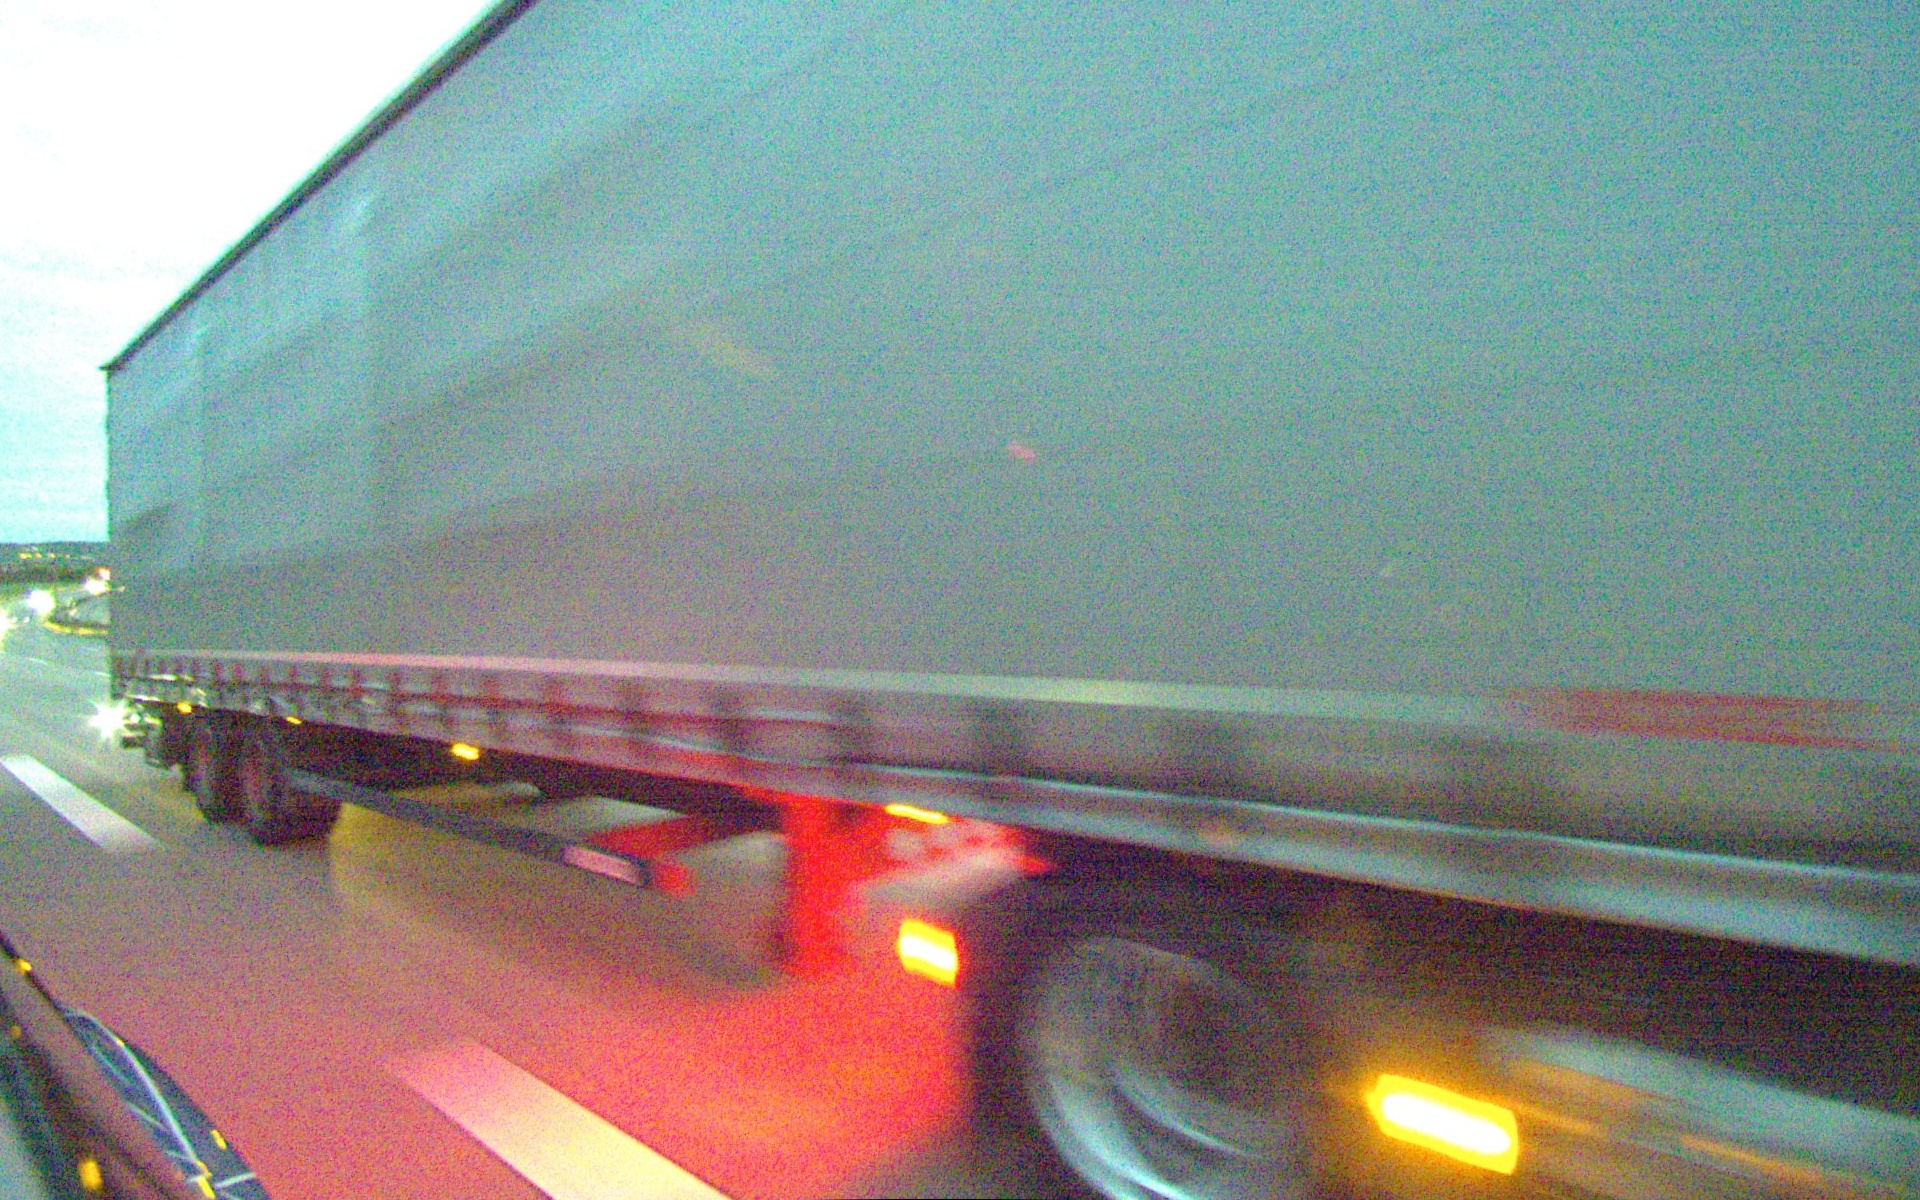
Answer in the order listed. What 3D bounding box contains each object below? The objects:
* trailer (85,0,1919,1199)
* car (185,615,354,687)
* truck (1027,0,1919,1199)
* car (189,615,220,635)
[{"bbox_3d":[-1.899,-0.423,5.826,14.811,3.945,2.745,-2,-1,41],"label":"trailer"},{"bbox_3d":[-16.309,1.144,23.825,4.541,1.509,1.975,-1,0,38],"label":"car"},{"bbox_3d":[3.357,-0.571,1.210,6.152,3.931,2.750,-2,-1,41],"label":"truck"},{"bbox_3d":[-79.026,2.646,105.861,4.001,2.029,1.971,-1,-2,44],"label":"car"}]
